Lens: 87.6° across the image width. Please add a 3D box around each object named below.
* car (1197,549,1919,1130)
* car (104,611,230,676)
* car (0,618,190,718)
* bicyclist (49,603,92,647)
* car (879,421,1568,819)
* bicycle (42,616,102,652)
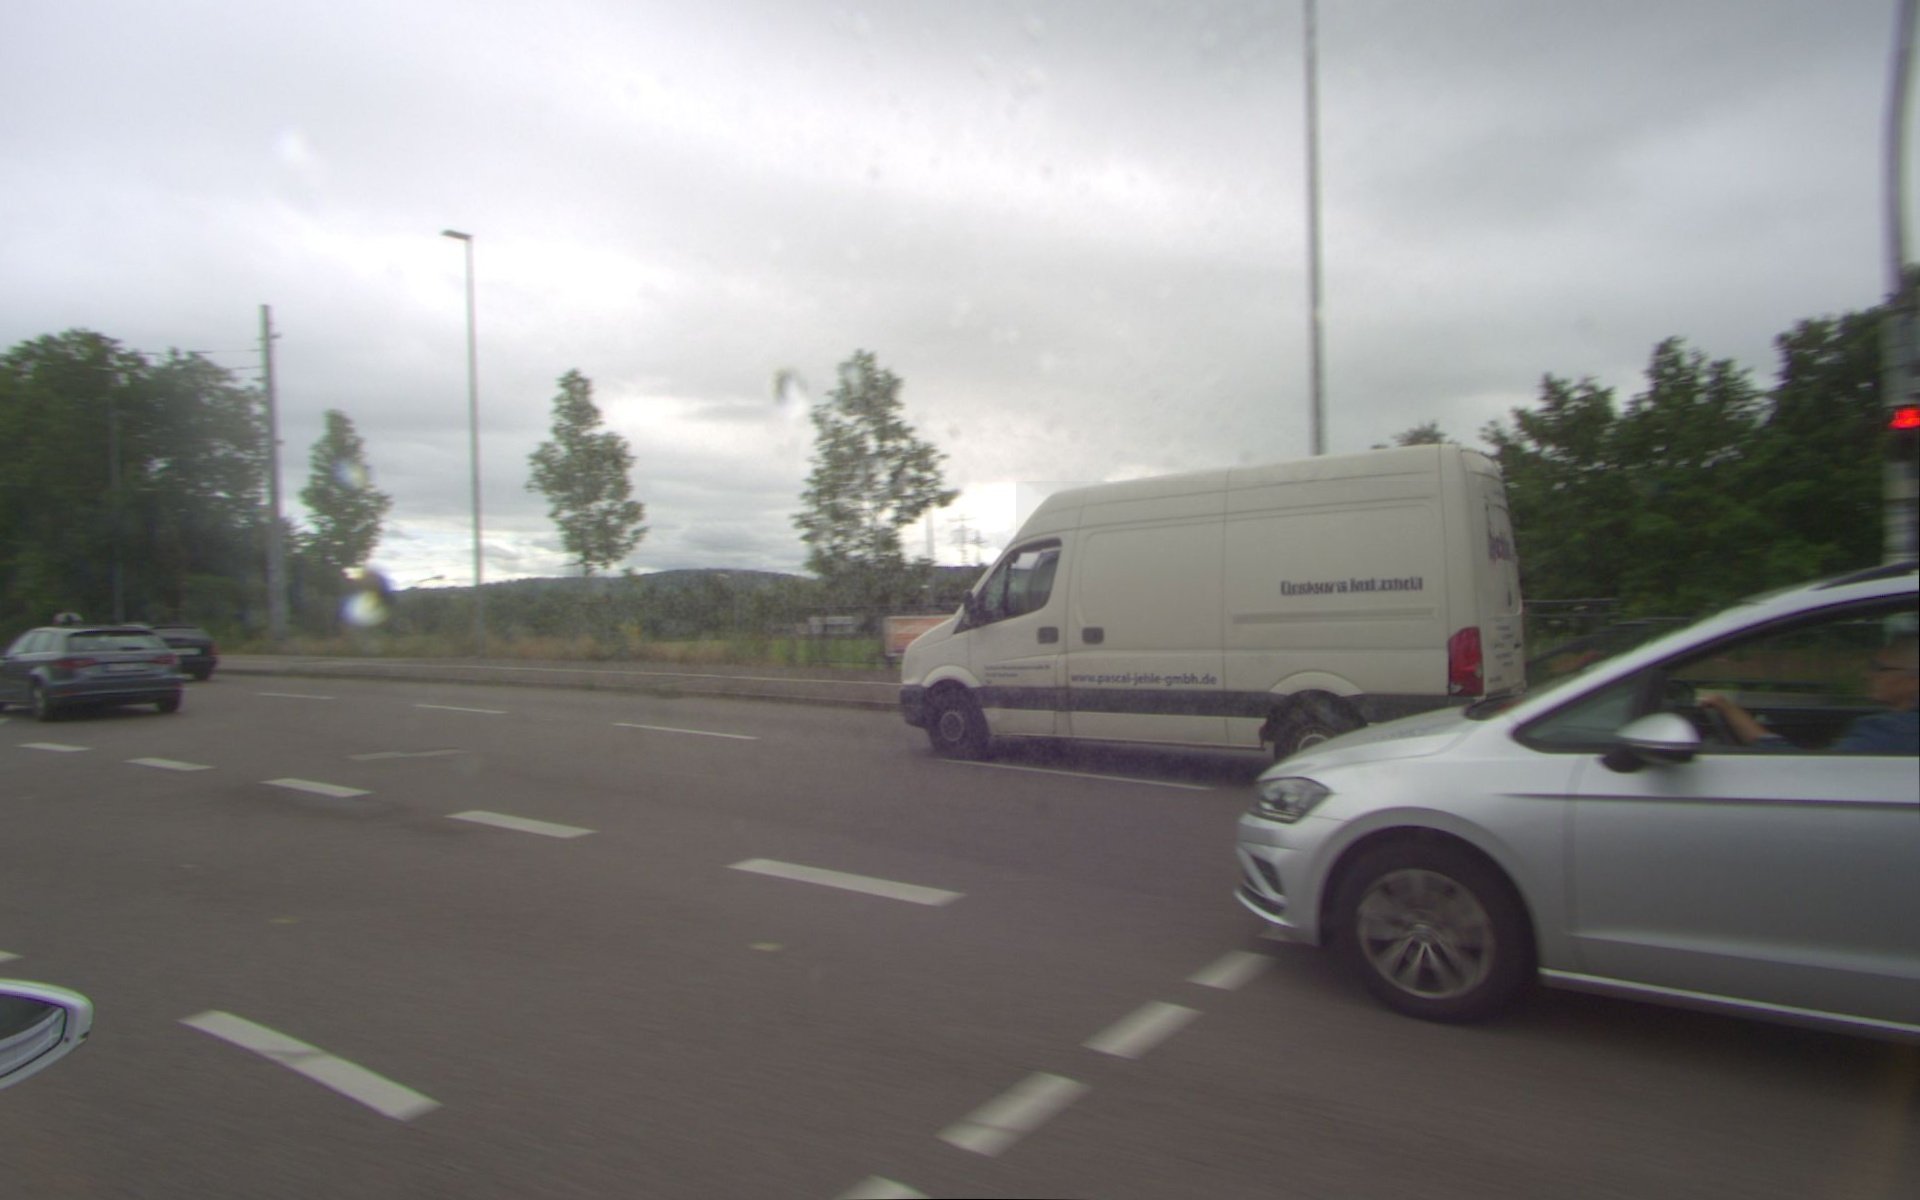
[{"bbox_3d":[3.139,0.652,3.446,4.146,1.572,1.849,-1,-1,36],"label":"car"},{"bbox_3d":[-20.036,1.082,25.227,4.270,1.498,1.727,-2,-2,41],"label":"car"},{"bbox_3d":[-14.351,1.023,16.259,4.020,1.420,1.733,-1,0,34],"label":"car"},{"bbox_3d":[-31.571,0.867,35.546,0.985,1.499,0.815,1,3,30],"label":"bicyclist"},{"bbox_3d":[2.249,0.191,9.575,5.827,2.660,2.645,-1,-1,39],"label":"car"},{"bbox_3d":[-31.583,1.191,35.616,2.484,1.201,0.815,0,2,30],"label":"bicycle"}]
